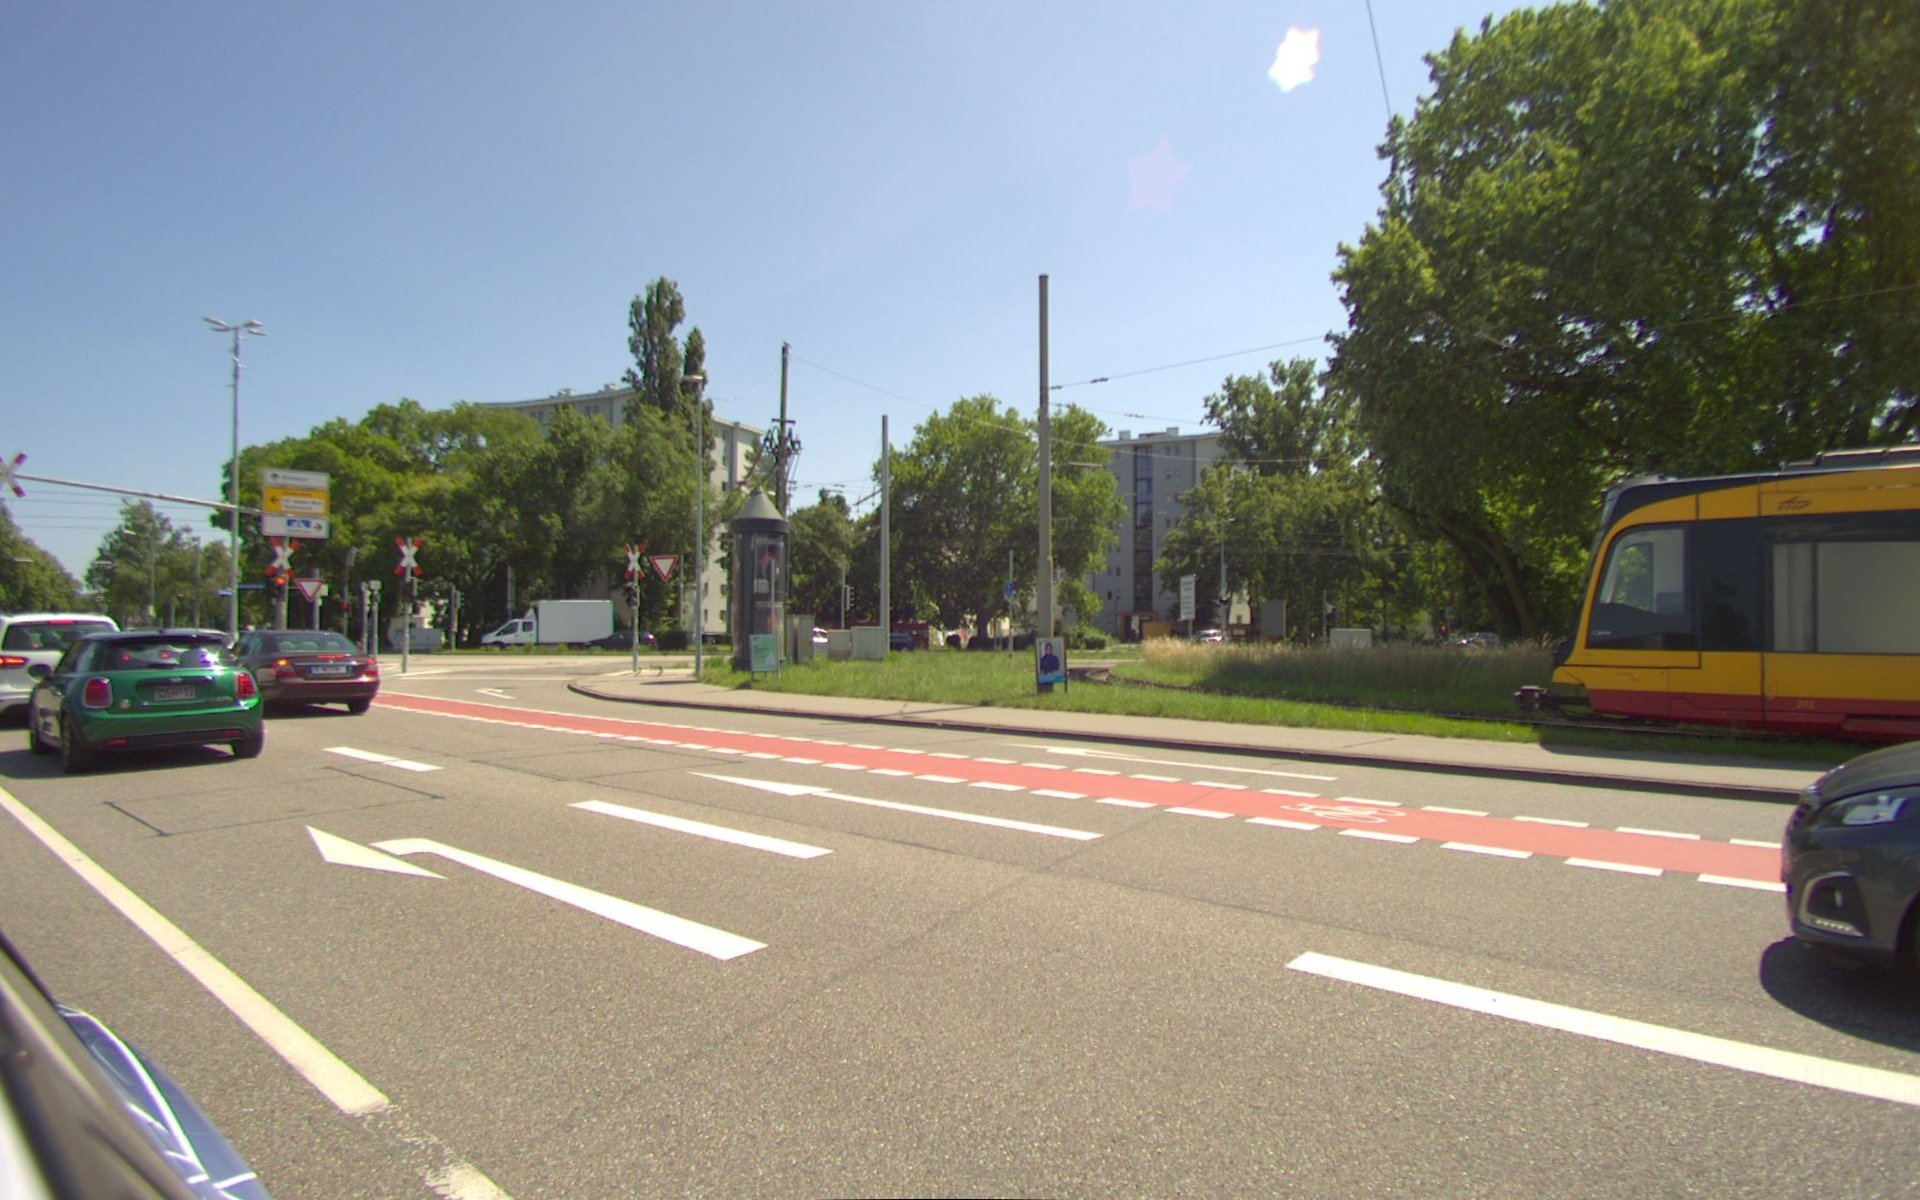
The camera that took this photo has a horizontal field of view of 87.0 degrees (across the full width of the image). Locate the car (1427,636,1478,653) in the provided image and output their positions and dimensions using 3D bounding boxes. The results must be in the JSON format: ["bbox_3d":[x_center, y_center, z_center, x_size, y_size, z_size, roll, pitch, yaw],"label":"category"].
[{"bbox_3d":[39.604,3.551,81.428,3.582,1.296,1.610,1,-4,-20],"label":"car"}]

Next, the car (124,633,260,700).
[{"bbox_3d":[-18.463,1.543,24.267,4.411,1.467,1.772,-2,-3,42],"label":"car"}]

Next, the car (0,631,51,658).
[{"bbox_3d":[-51.664,2.394,54.105,4.142,1.436,1.855,1,-3,-18],"label":"car"}]

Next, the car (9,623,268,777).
[{"bbox_3d":[-9.614,1.038,11.738,3.988,1.474,1.705,-2,-2,42],"label":"car"}]

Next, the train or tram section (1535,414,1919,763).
[{"bbox_3d":[13.593,-0.135,10.545,12.963,3.788,2.990,-2,-4,35],"label":"train or tram section"}]

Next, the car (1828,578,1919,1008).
[{"bbox_3d":[4.959,0.664,3.067,3.500,1.467,1.605,-2,-4,41],"label":"car"}]

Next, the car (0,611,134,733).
[{"bbox_3d":[-15.184,1.106,16.574,4.828,1.736,1.793,-2,-2,41],"label":"car"}]

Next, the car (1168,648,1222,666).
[{"bbox_3d":[17.572,4.253,75.794,3.582,1.296,1.610,1,-4,-20],"label":"car"}]

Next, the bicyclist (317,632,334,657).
[{"bbox_3d":[-38.621,2.705,61.639,0.626,1.479,0.611,1,0,26],"label":"bicyclist"}]

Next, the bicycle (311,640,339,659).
[{"bbox_3d":[-38.679,3.021,61.660,1.796,1.071,0.610,0,-1,27],"label":"bicycle"}]

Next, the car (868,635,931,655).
[{"bbox_3d":[-4.184,3.092,69.427,3.931,1.296,1.892,1,-4,-20],"label":"car"}]

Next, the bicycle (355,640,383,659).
[{"bbox_3d":[-36.671,3.048,62.835,1.796,1.071,0.610,2,0,27],"label":"bicycle"}]

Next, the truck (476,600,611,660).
[{"bbox_3d":[-25.868,1.909,63.276,7.579,3.560,2.596,0,-4,-18],"label":"truck"}]

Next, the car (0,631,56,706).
[{"bbox_3d":[-20.298,1.397,21.005,3.958,1.448,1.750,-2,-1,40],"label":"car"}]

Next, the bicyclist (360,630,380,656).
[{"bbox_3d":[-36.619,2.689,62.844,0.905,1.556,0.642,2,0,27],"label":"bicyclist"}]

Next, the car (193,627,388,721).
[{"bbox_3d":[-11.950,1.240,17.957,4.282,1.468,1.742,-2,-3,40],"label":"car"}]

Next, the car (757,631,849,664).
[{"bbox_3d":[-7.850,2.383,50.741,4.188,1.558,1.751,2,-5,-37],"label":"car"}]

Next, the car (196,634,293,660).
[{"bbox_3d":[-40.643,2.656,57.607,4.142,1.436,1.854,1,-3,-18],"label":"car"}]

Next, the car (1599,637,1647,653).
[{"bbox_3d":[56.859,3.838,86.807,3.582,1.296,1.610,1,-4,-20],"label":"car"}]

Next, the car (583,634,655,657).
[{"bbox_3d":[-20.196,2.708,59.912,3.931,1.296,1.752,1,-4,-20],"label":"car"}]

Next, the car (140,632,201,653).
[{"bbox_3d":[-58.710,3.181,75.271,3.440,1.439,1.585,1,-4,-44],"label":"car"}]
